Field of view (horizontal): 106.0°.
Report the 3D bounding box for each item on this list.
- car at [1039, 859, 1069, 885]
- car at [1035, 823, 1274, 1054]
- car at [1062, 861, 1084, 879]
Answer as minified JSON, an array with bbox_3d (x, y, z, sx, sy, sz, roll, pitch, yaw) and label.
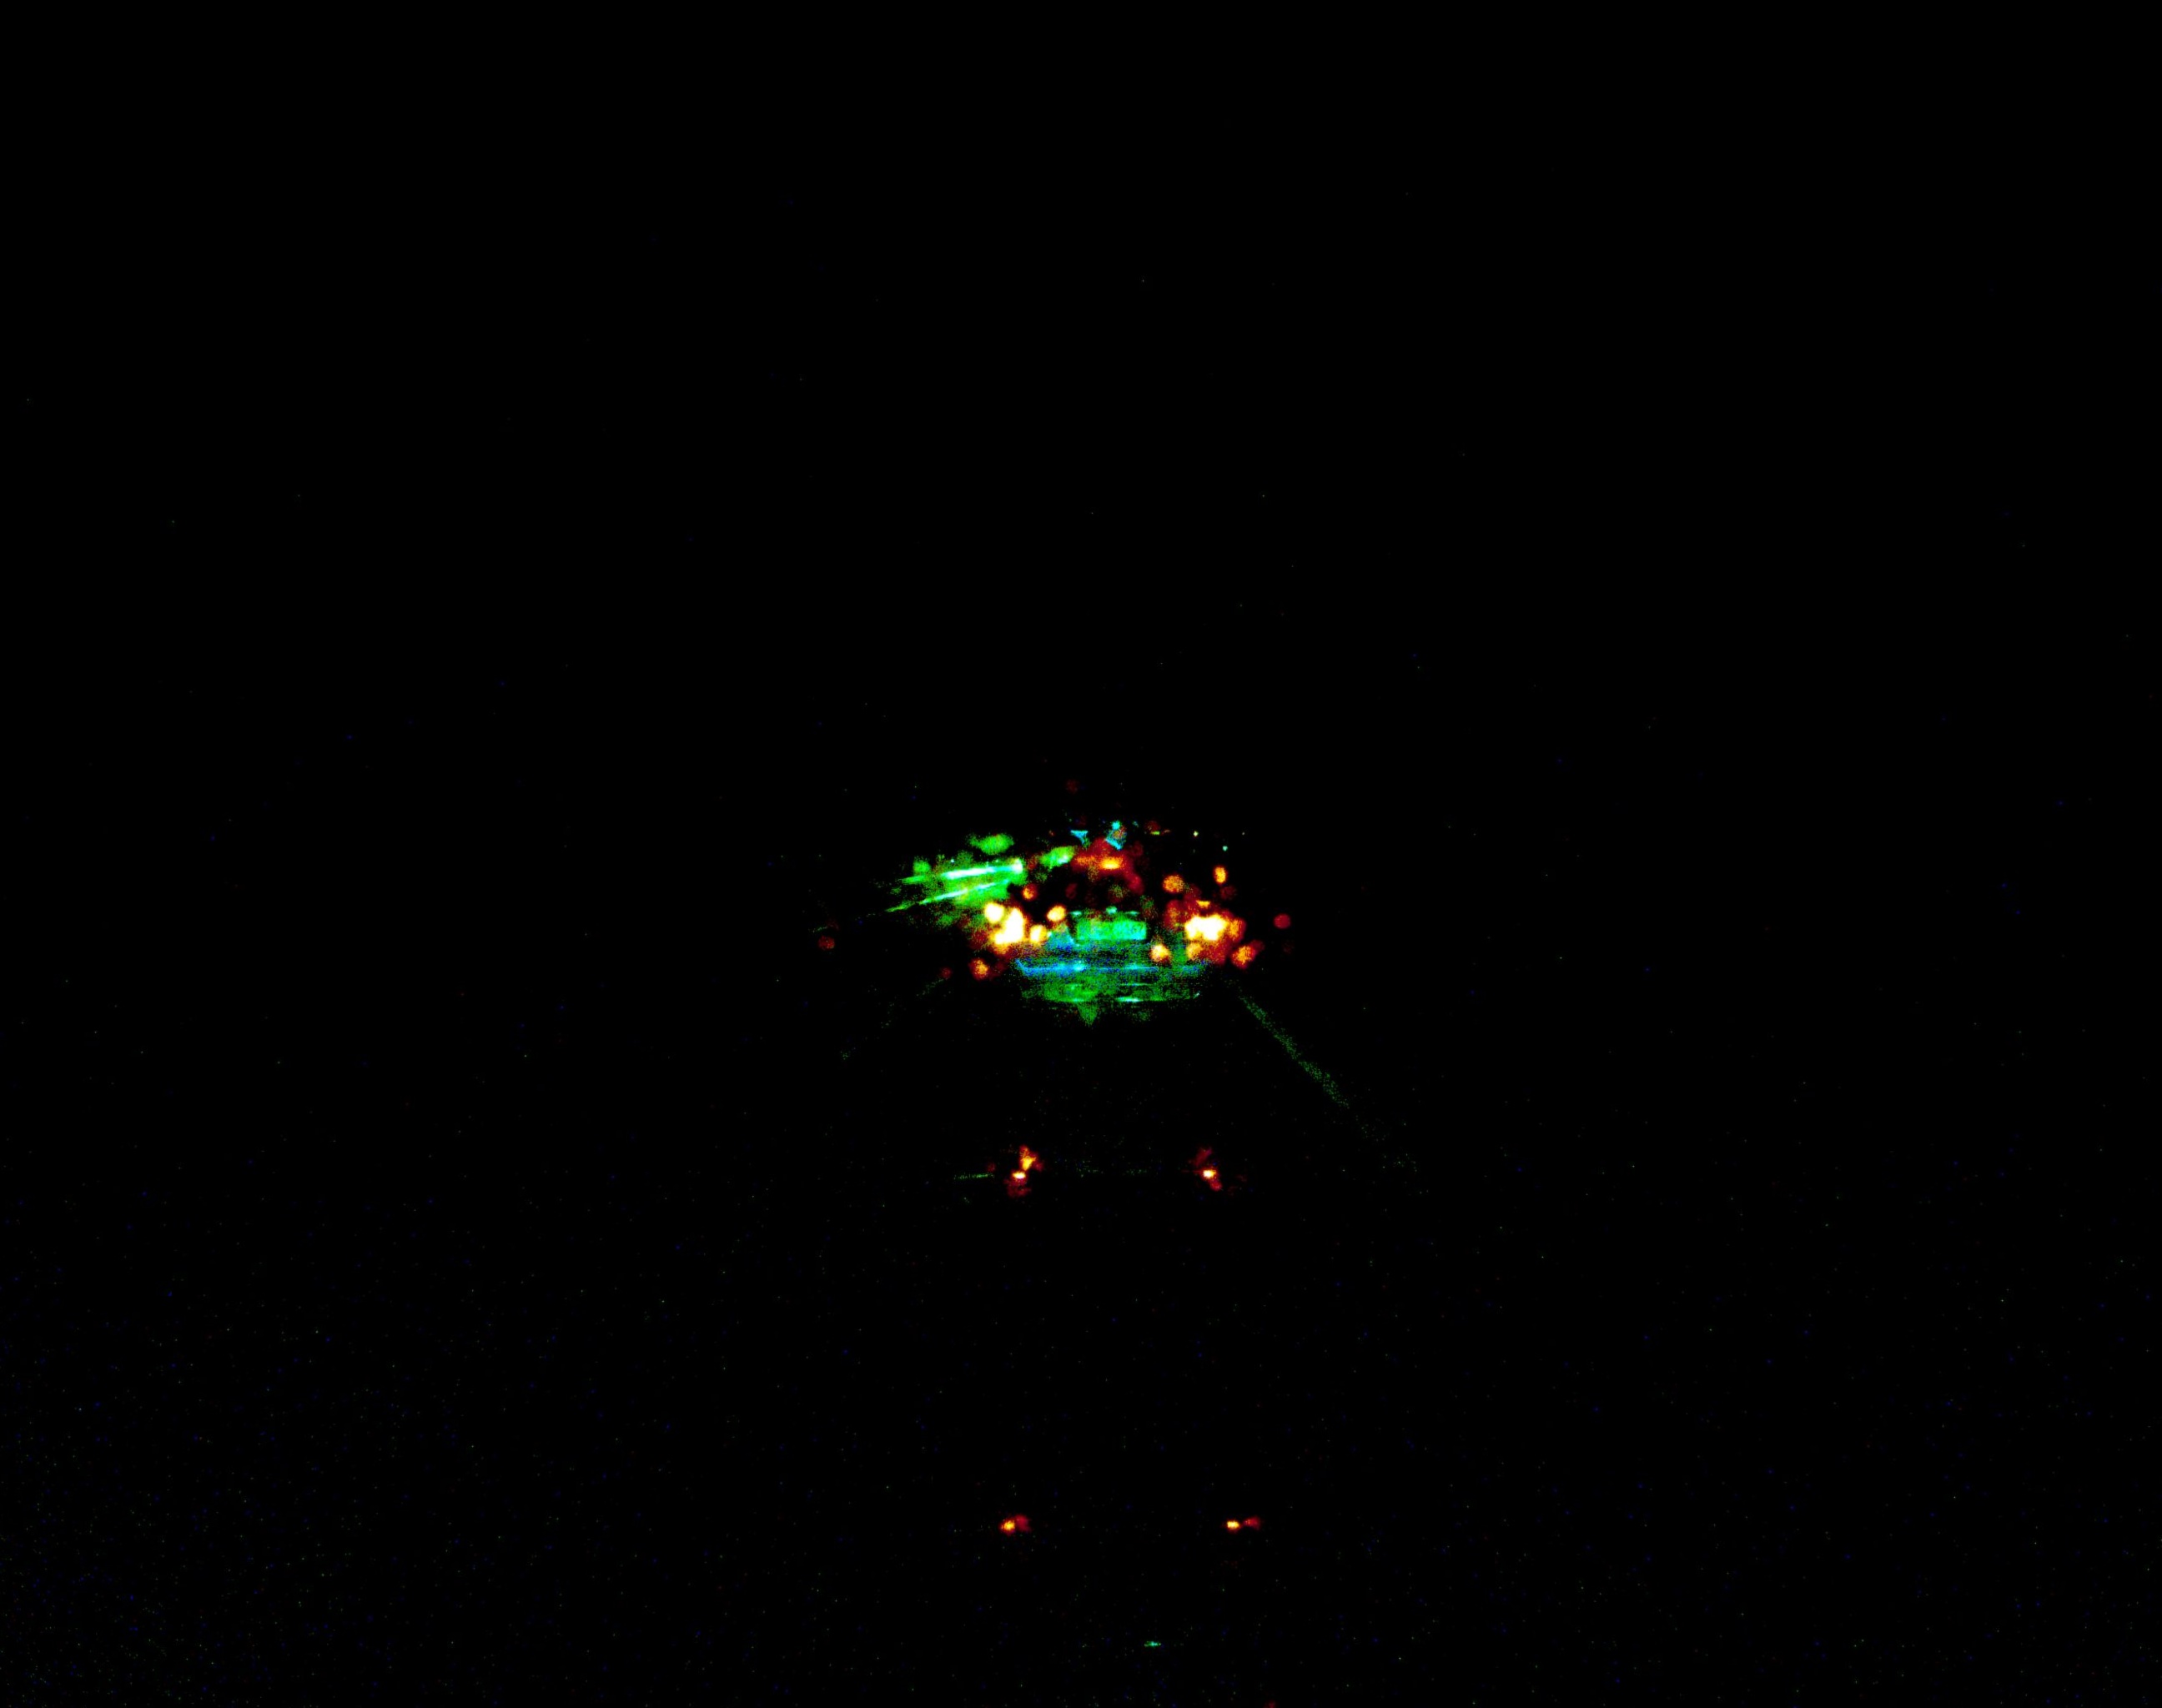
[{"bbox_3d":[-1.851,1.244,56.990,1.945,1.656,4.124,-2,0,0],"label":"car"},{"bbox_3d":[0.623,0.637,8.095,1.768,1.712,4.002,-1,0,2],"label":"car"},{"bbox_3d":[-0.711,1.482,75.343,1.831,1.546,4.258,0,0,1],"label":"car"}]
